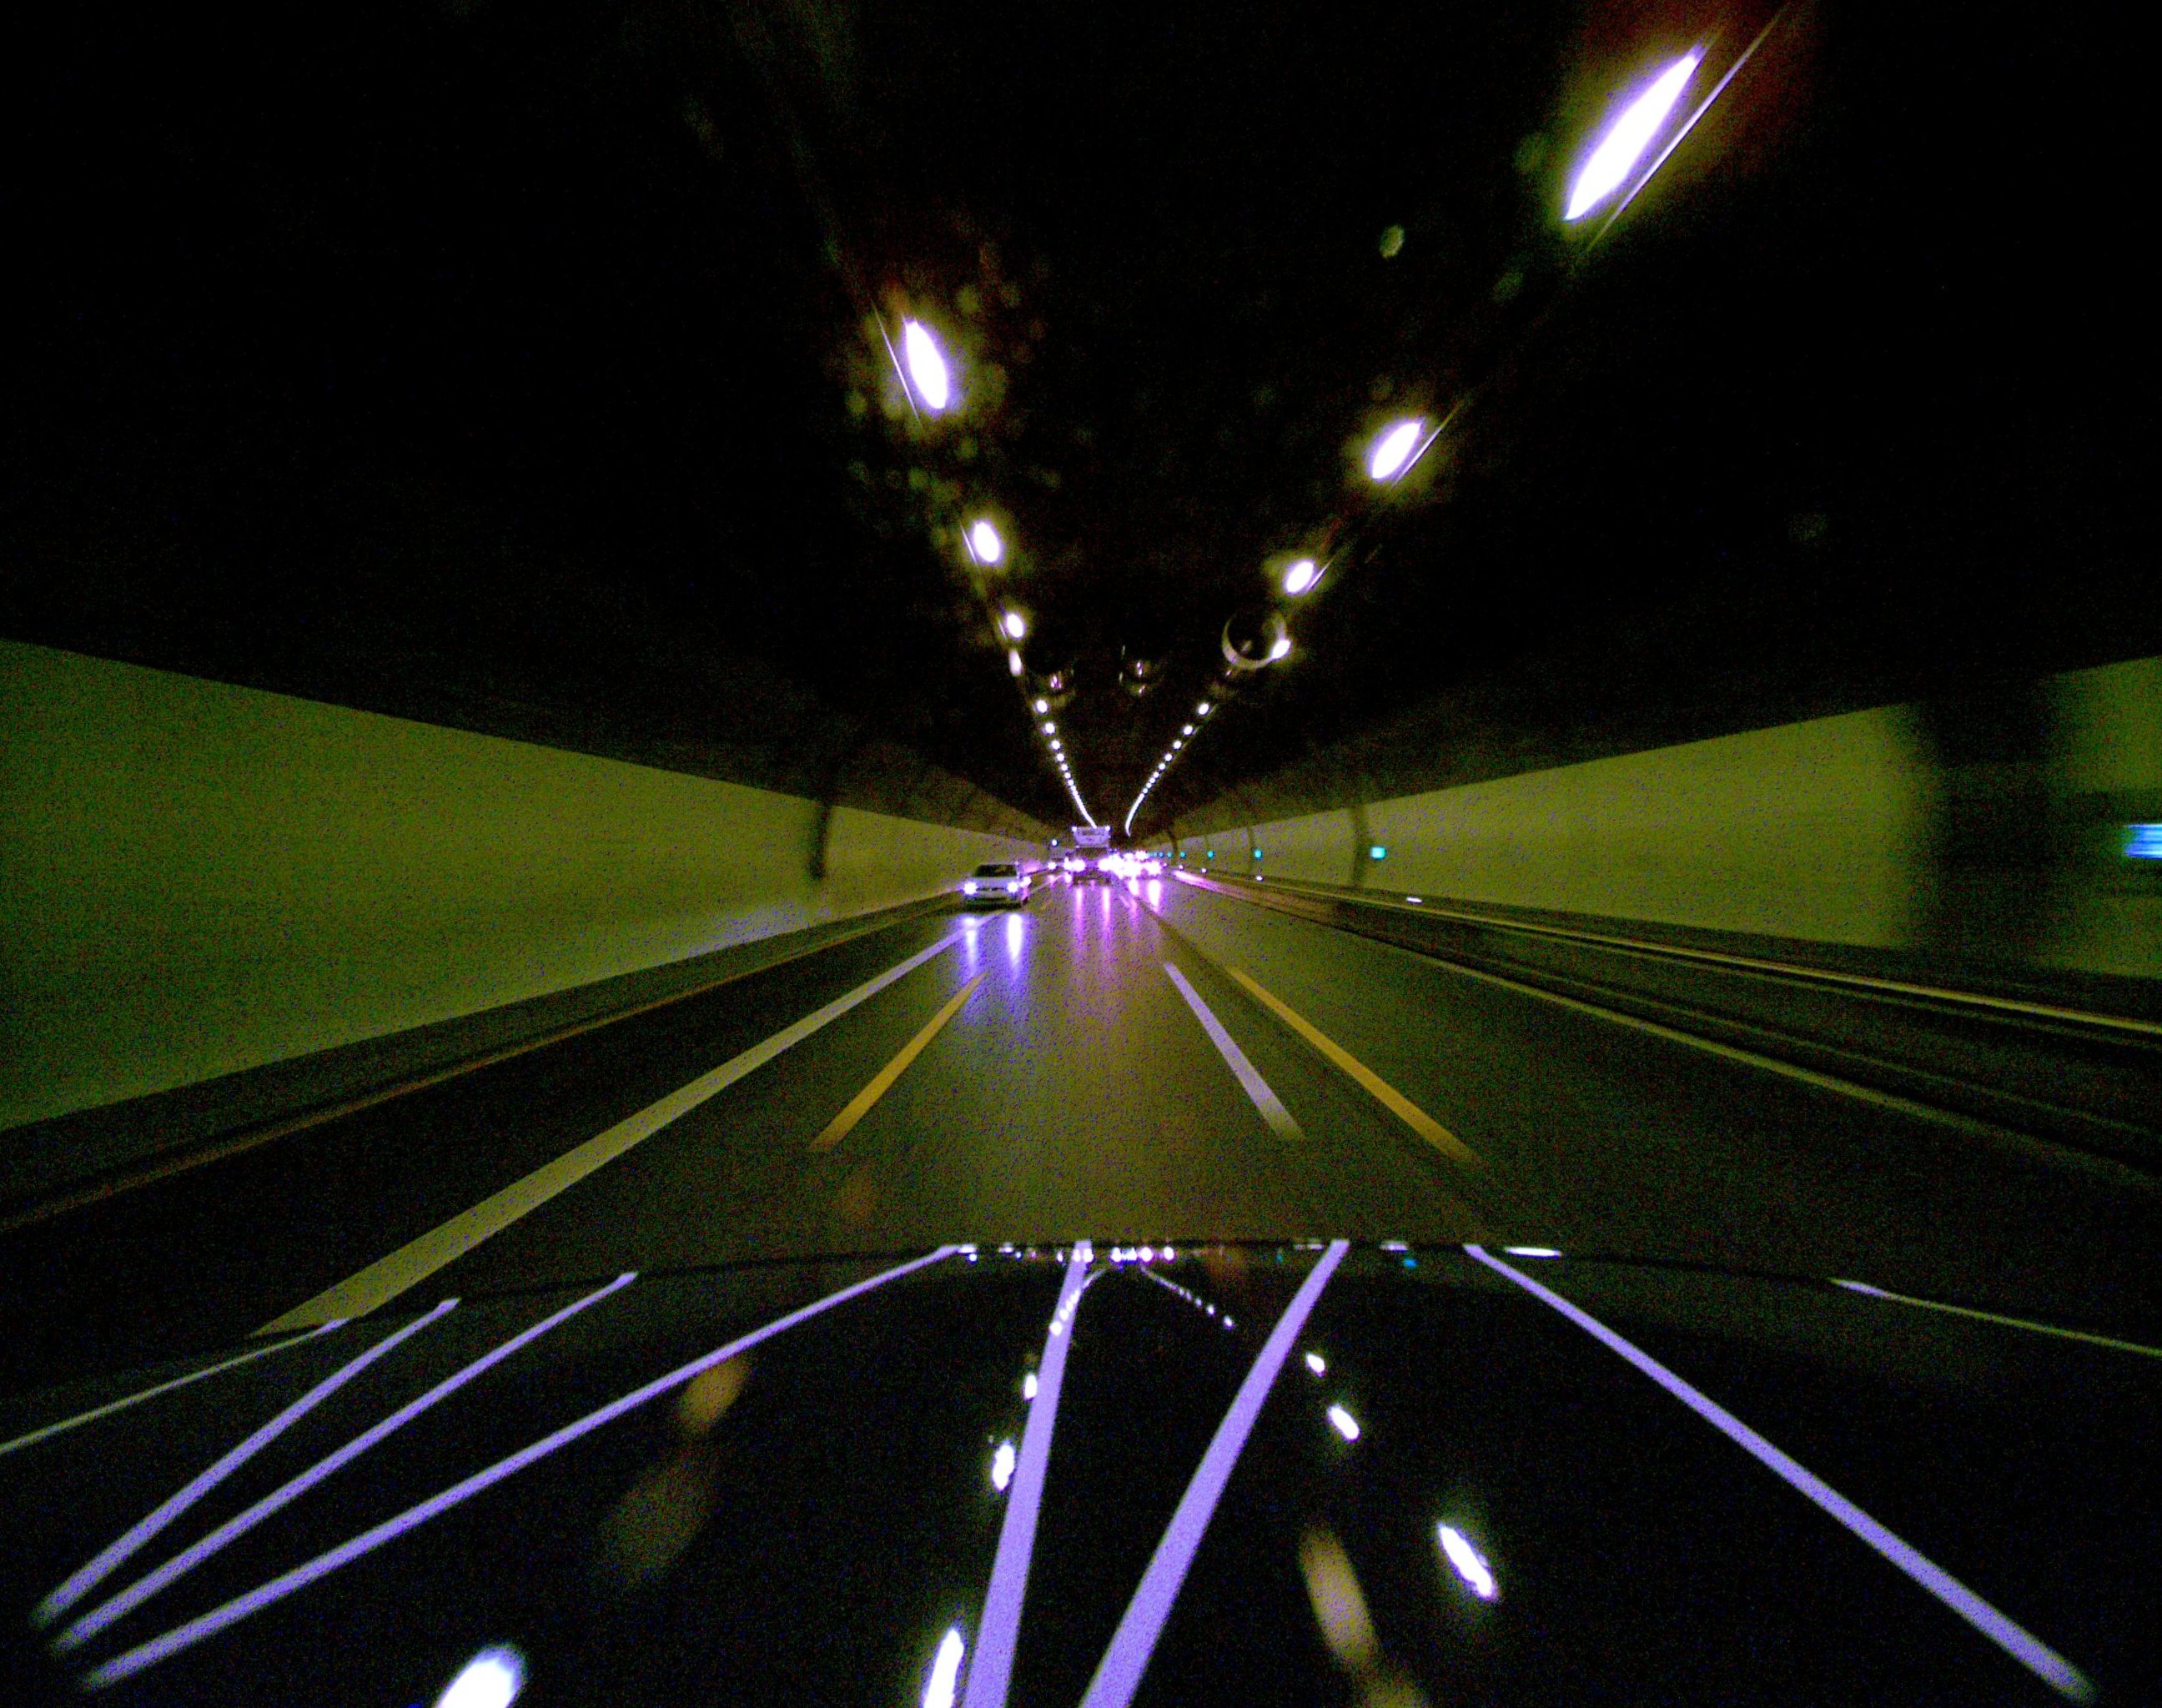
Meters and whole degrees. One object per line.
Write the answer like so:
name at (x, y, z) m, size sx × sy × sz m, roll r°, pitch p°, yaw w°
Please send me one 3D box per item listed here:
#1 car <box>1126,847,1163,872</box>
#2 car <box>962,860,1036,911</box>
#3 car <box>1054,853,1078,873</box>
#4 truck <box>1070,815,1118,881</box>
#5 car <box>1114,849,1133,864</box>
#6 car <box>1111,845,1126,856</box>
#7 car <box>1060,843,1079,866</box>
car at (4.044, 0.343, 49.070) m, size 1.908 × 1.476 × 4.943 m, roll -2°, pitch 0°, yaw -1°
car at (-2.561, 0.950, 24.545) m, size 1.801 × 1.452 × 4.035 m, roll -2°, pitch 0°, yaw 2°
car at (-1.327, 0.821, 68.492) m, size 1.958 × 1.528 × 4.757 m, roll -4°, pitch 1°, yaw -1°
truck at (0.627, -0.343, 42.103) m, size 2.262 × 3.238 × 7.381 m, roll -3°, pitch 1°, yaw 0°
car at (4.243, 0.233, 76.225) m, size 1.657 × 1.395 × 3.656 m, roll -3°, pitch 1°, yaw 0°
car at (6.018, -0.598, 121.199) m, size 1.958 × 1.528 × 4.757 m, roll -6°, pitch 1°, yaw -1°
car at (-1.456, -0.003, 98.592) m, size 2.124 × 2.630 × 6.228 m, roll -4°, pitch 1°, yaw 0°
